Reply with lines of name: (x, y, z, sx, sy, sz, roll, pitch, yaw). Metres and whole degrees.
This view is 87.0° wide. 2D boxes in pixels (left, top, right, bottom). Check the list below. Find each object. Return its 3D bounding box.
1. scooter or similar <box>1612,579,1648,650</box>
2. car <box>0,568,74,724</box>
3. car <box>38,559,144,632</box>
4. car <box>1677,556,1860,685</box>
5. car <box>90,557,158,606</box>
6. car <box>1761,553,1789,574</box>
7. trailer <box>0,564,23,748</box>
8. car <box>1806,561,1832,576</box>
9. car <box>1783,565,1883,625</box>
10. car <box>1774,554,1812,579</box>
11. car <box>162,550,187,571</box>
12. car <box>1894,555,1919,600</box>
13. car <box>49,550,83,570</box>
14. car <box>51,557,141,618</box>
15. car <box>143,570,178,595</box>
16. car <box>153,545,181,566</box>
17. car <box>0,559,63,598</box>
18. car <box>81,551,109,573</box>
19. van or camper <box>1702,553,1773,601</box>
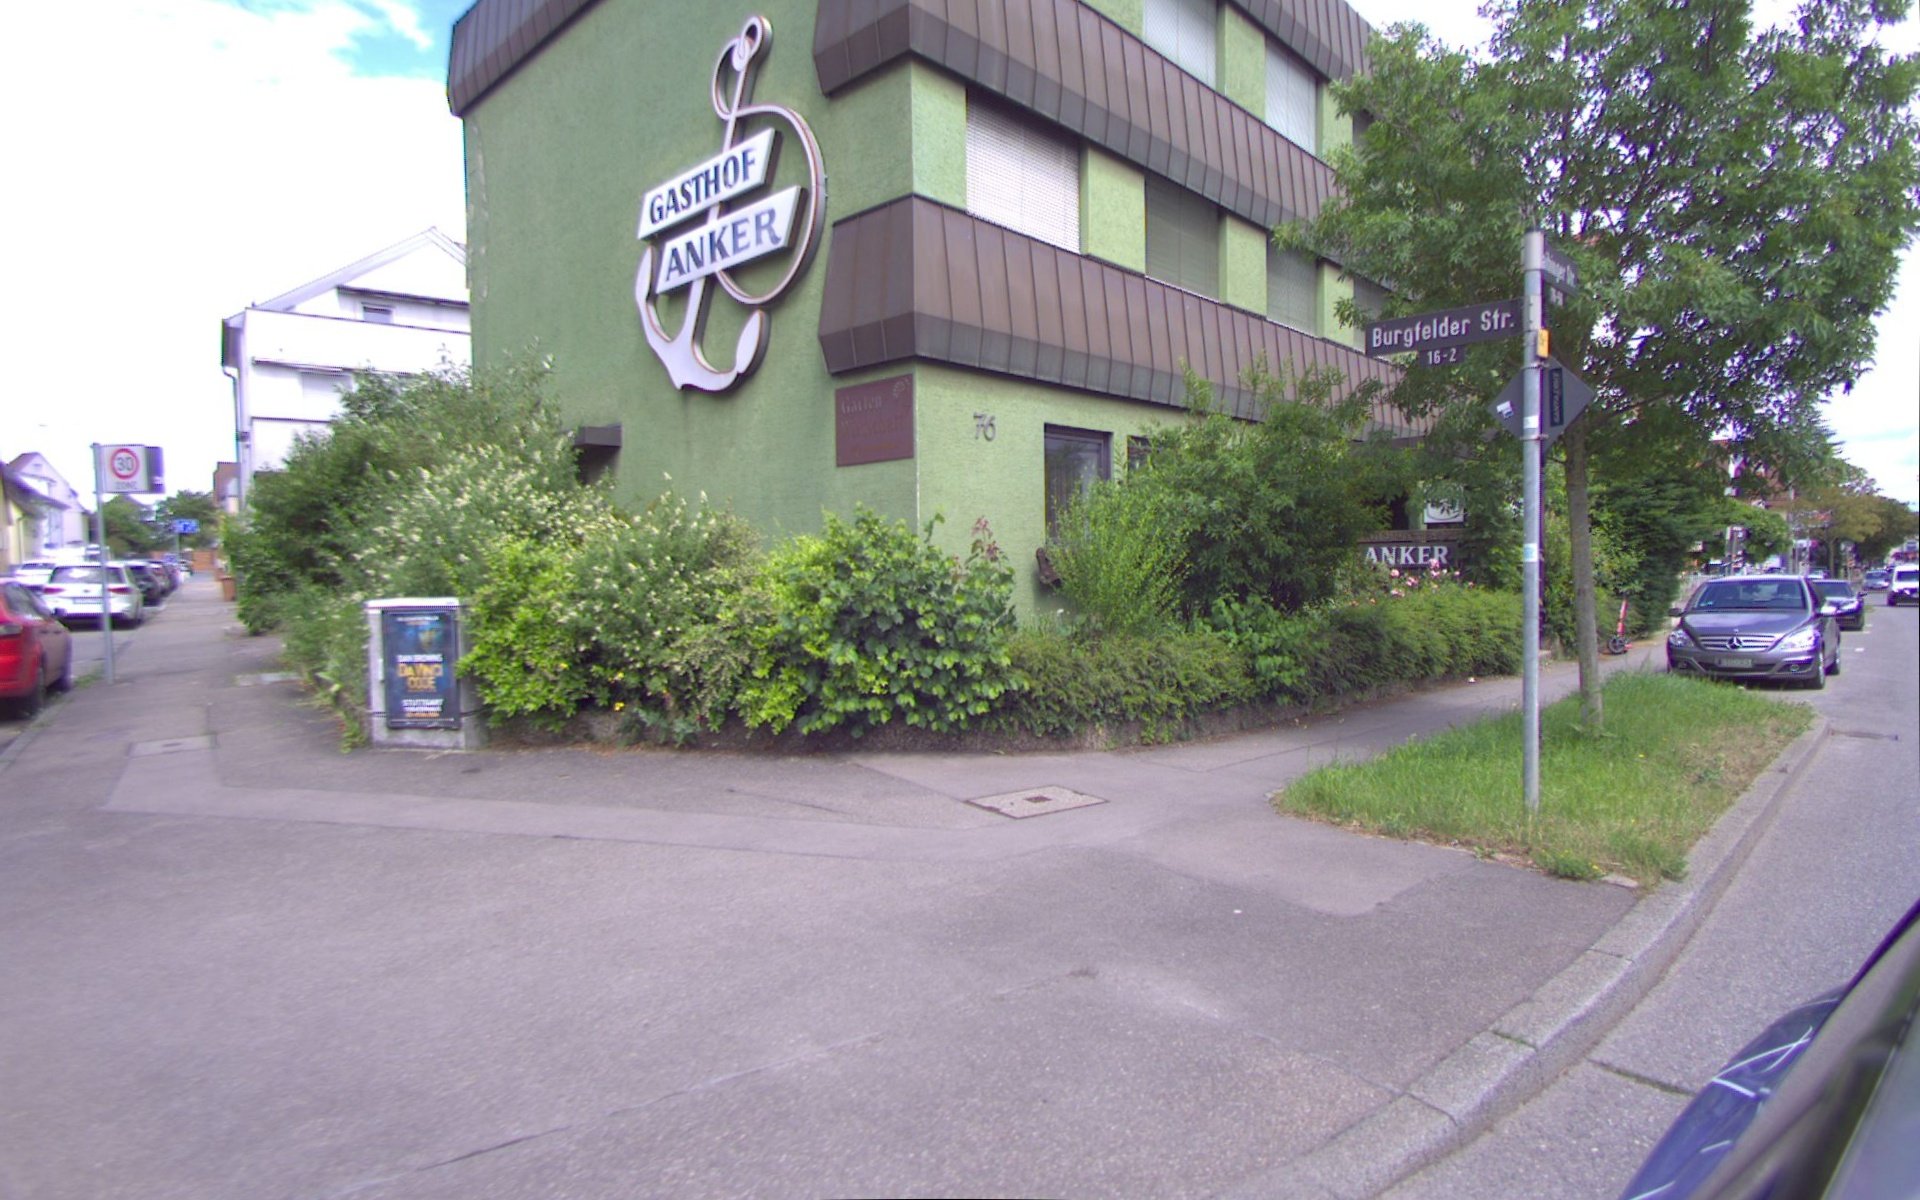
scooter or similar: (13.081, 0.265, 19.760, 0.301, 1.320, 1.382, 4, 4, 43)
car: (-10.997, 0.420, 11.003, 1.701, 1.463, 4.255, -3, 4, -37)
car: (-21.435, -0.195, 25.098, 1.701, 1.627, 3.979, -3, 4, -37)
car: (12.311, 0.216, 15.308, 1.691, 1.687, 4.390, 1, 2, 45)
car: (-30.538, -0.725, 37.051, 1.701, 1.627, 3.979, -3, 4, -37)
car: (67.560, -3.038, 83.905, 1.633, 1.546, 4.144, 6, 7, 40)
trailer: (-8.598, 0.549, 7.869, 1.366, 1.601, 3.172, -1, 3, -33)
car: (78.489, -2.902, 92.530, 1.783, 1.332, 4.418, 2, 4, 40)
car: (24.867, -0.202, 28.770, 1.984, 1.466, 4.679, 1, 3, 43)
car: (62.041, -2.513, 75.359, 4.091, 1.614, 1.618, -3, 8, -44)
car: (-73.615, -3.711, 94.844, 1.818, 1.777, 3.669, -3, 2, -38)
car: (42.245, -1.047, 44.273, 1.960, 1.829, 4.362, -2, 2, 43)
car: (-68.046, -3.035, 77.058, 1.692, 1.463, 3.603, -3, 3, -38)
car: (-24.995, -0.426, 29.384, 1.701, 1.627, 3.979, -3, 4, -37)
car: (-55.803, -1.272, 70.666, 1.700, 1.627, 3.980, -3, 4, -36)
car: (-70.157, -3.926, 89.572, 1.818, 1.777, 3.669, -3, 2, -38)
car: (-41.325, -0.956, 45.028, 1.818, 1.612, 3.669, -3, 2, -38)
car: (-82.592, -3.582, 96.689, 1.818, 1.961, 3.669, -3, 2, -38)
van or camper: (35.700, -1.074, 46.415, 4.473, 2.057, 1.868, -4, 2, -43)
